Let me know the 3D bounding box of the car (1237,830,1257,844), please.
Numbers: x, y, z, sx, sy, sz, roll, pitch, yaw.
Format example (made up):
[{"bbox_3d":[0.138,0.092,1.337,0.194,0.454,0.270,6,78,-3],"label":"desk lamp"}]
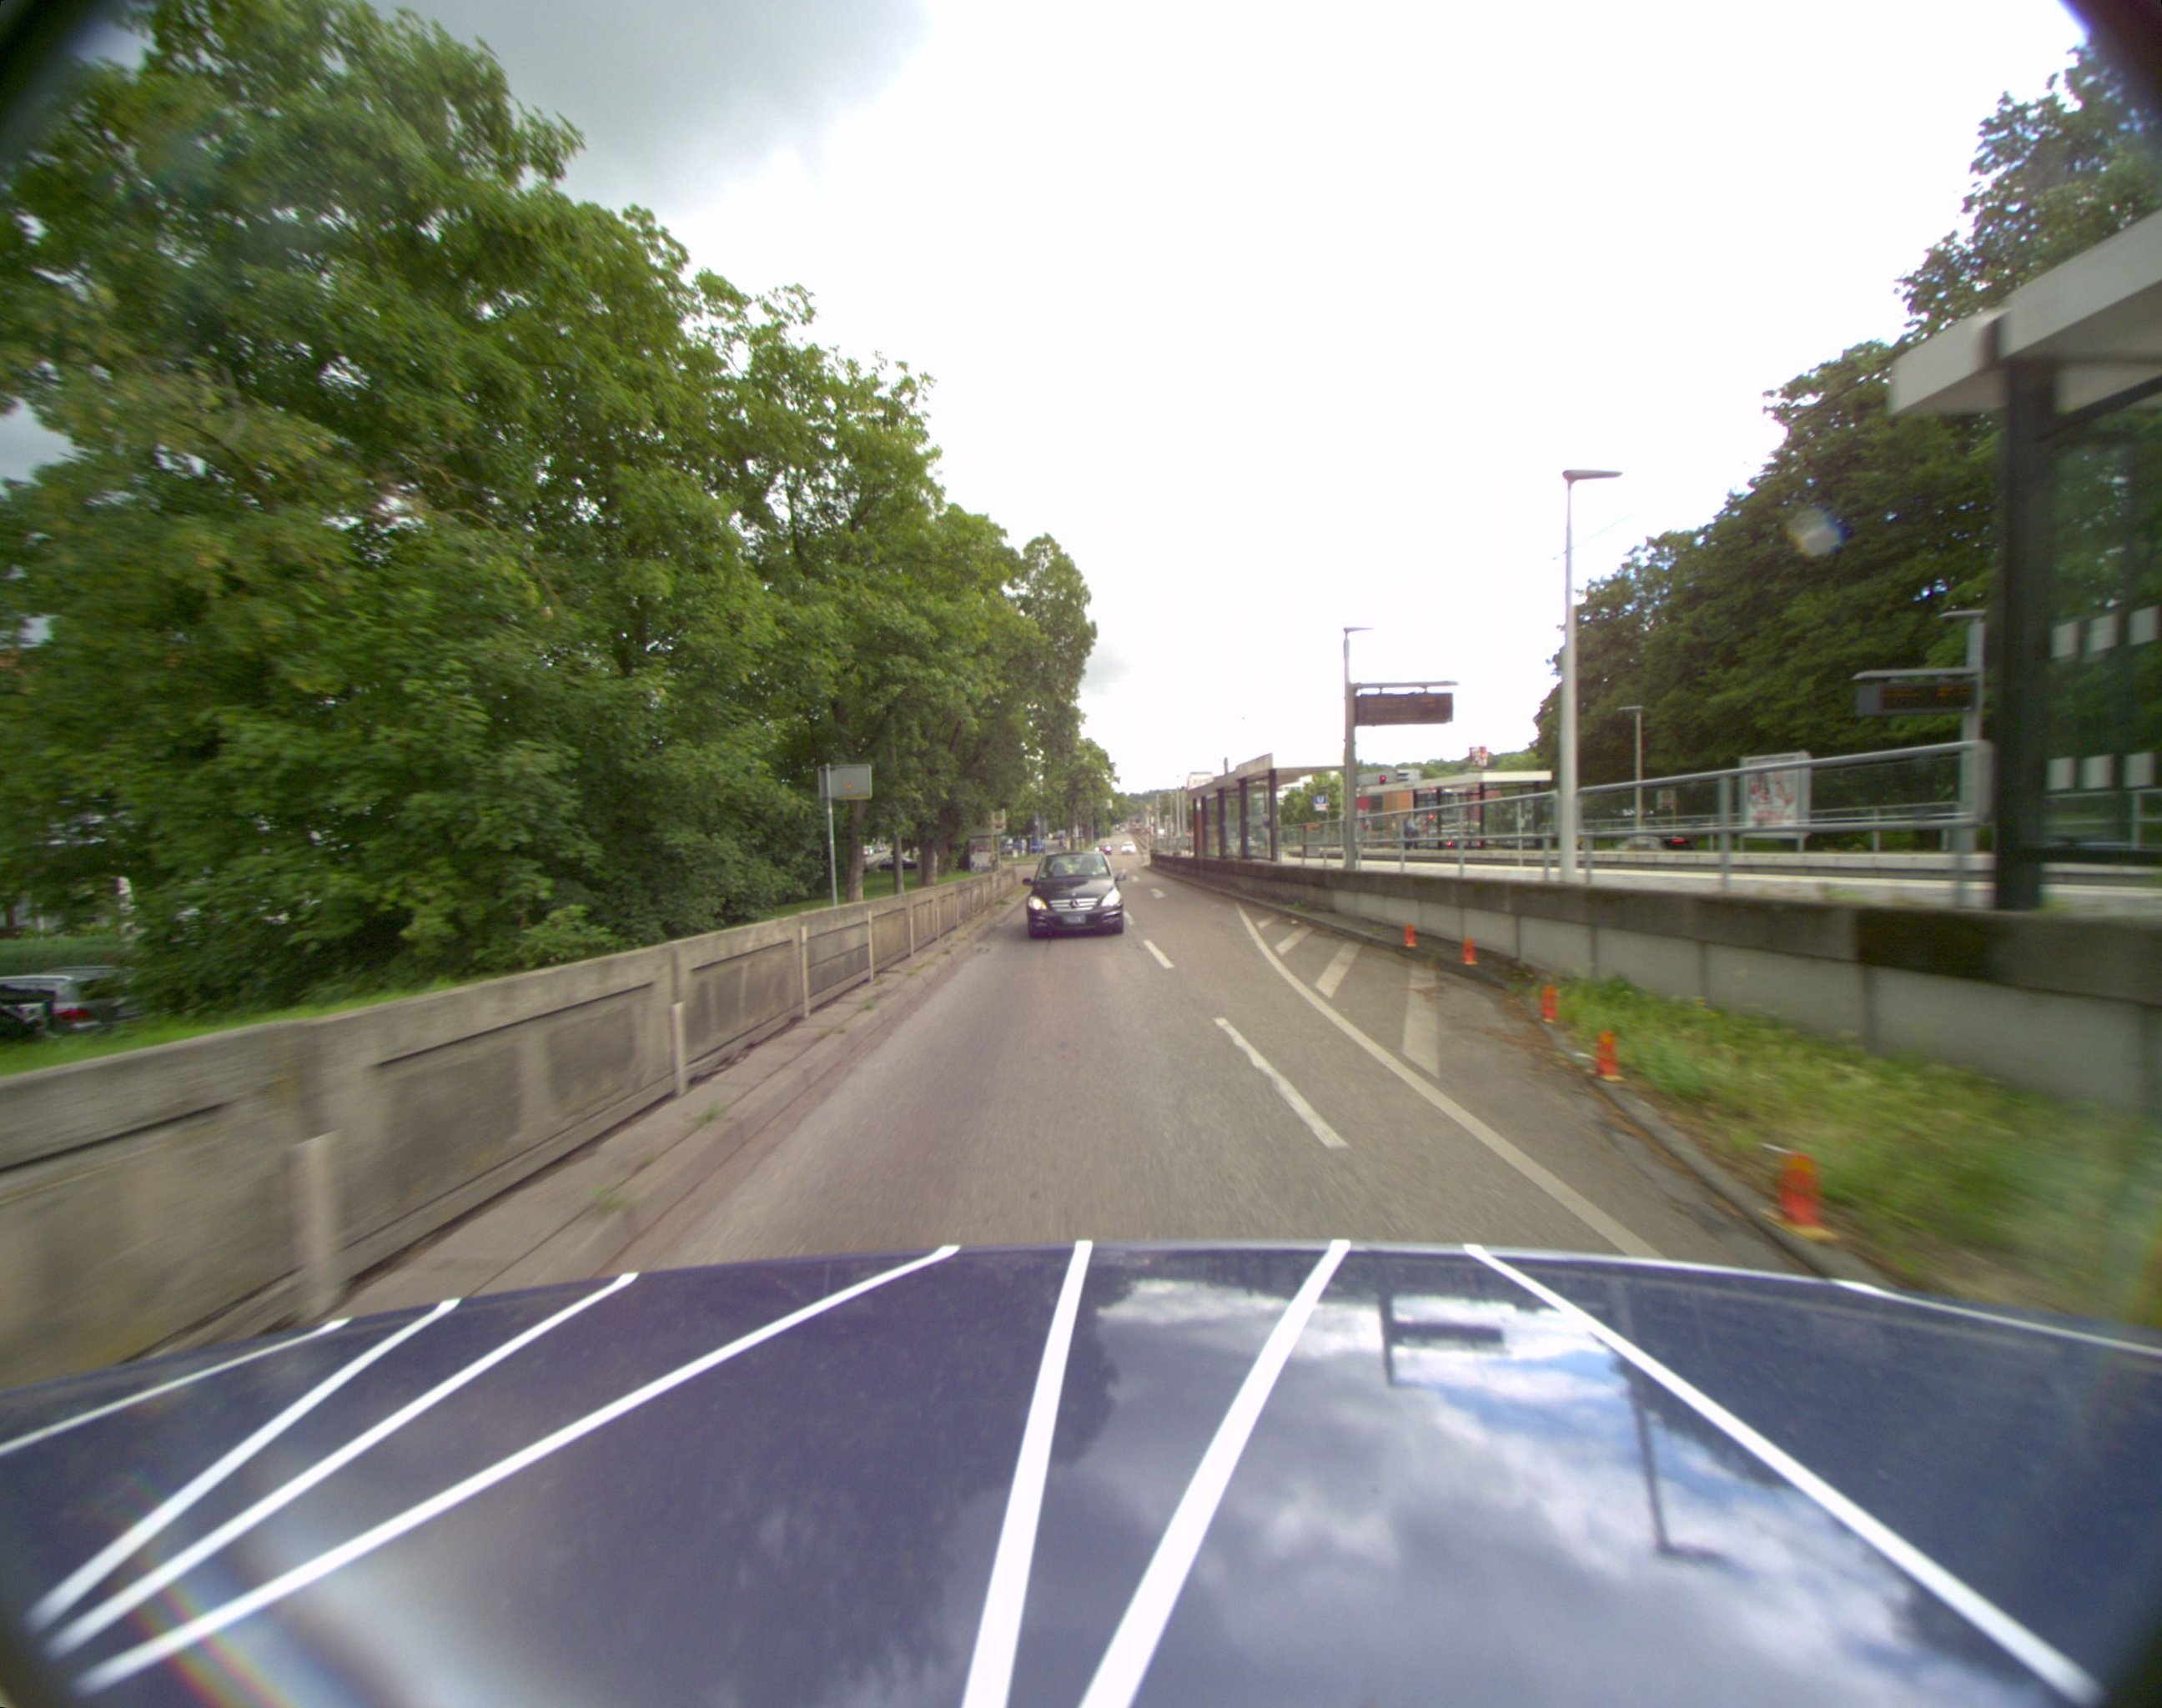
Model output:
[{"bbox_3d":[22.907,-2.382,104.893,1.714,1.742,4.398,-1,3,0],"label":"car"}]

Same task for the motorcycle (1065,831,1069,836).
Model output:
[{"bbox_3d":[-3.431,-4.938,186.812,0.704,1.180,2.387,-1,2,-3],"label":"motorcycle"}]

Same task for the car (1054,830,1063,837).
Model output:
[{"bbox_3d":[-5.731,-5.293,192.602,1.998,1.630,4.326,1,3,4],"label":"car"}]

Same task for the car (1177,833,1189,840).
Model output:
[{"bbox_3d":[19.815,-3.396,147.713,1.599,1.438,4.051,-1,2,-3],"label":"car"}]

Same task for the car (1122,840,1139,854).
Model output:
[{"bbox_3d":[6.102,-0.882,93.662,1.786,1.436,3.998,-4,2,1],"label":"car"}]

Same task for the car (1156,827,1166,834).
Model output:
[{"bbox_3d":[23.749,-6.921,225.293,1.999,2.002,4.882,-1,2,-3],"label":"car"}]

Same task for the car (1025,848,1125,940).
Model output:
[{"bbox_3d":[-0.001,0.736,16.307,1.786,1.614,4.000,-3,1,3],"label":"car"}]

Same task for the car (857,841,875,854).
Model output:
[{"bbox_3d":[-32.799,-1.029,115.980,1.948,1.832,4.247,-5,2,-9],"label":"car"}]

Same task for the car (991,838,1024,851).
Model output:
[{"bbox_3d":[-10.137,-1.364,104.233,4.215,1.688,1.837,-2,2,-16],"label":"car"}]

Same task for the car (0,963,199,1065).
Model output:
[{"bbox_3d":[-21.189,3.326,15.863,3.547,1.609,1.745,-4,3,5],"label":"car"}]

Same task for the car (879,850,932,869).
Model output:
[{"bbox_3d":[-15.531,0.487,67.295,4.160,1.518,1.705,-1,3,9],"label":"car"}]

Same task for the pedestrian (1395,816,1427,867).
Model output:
[{"bbox_3d":[14.698,-0.565,33.847,0.972,2.174,0.976,-2,2,2],"label":"pedestrian"}]

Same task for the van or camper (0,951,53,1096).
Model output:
[{"bbox_3d":[-16.393,2.636,8.482,2.184,2.003,5.834,-4,2,-8],"label":"van or camper"}]
